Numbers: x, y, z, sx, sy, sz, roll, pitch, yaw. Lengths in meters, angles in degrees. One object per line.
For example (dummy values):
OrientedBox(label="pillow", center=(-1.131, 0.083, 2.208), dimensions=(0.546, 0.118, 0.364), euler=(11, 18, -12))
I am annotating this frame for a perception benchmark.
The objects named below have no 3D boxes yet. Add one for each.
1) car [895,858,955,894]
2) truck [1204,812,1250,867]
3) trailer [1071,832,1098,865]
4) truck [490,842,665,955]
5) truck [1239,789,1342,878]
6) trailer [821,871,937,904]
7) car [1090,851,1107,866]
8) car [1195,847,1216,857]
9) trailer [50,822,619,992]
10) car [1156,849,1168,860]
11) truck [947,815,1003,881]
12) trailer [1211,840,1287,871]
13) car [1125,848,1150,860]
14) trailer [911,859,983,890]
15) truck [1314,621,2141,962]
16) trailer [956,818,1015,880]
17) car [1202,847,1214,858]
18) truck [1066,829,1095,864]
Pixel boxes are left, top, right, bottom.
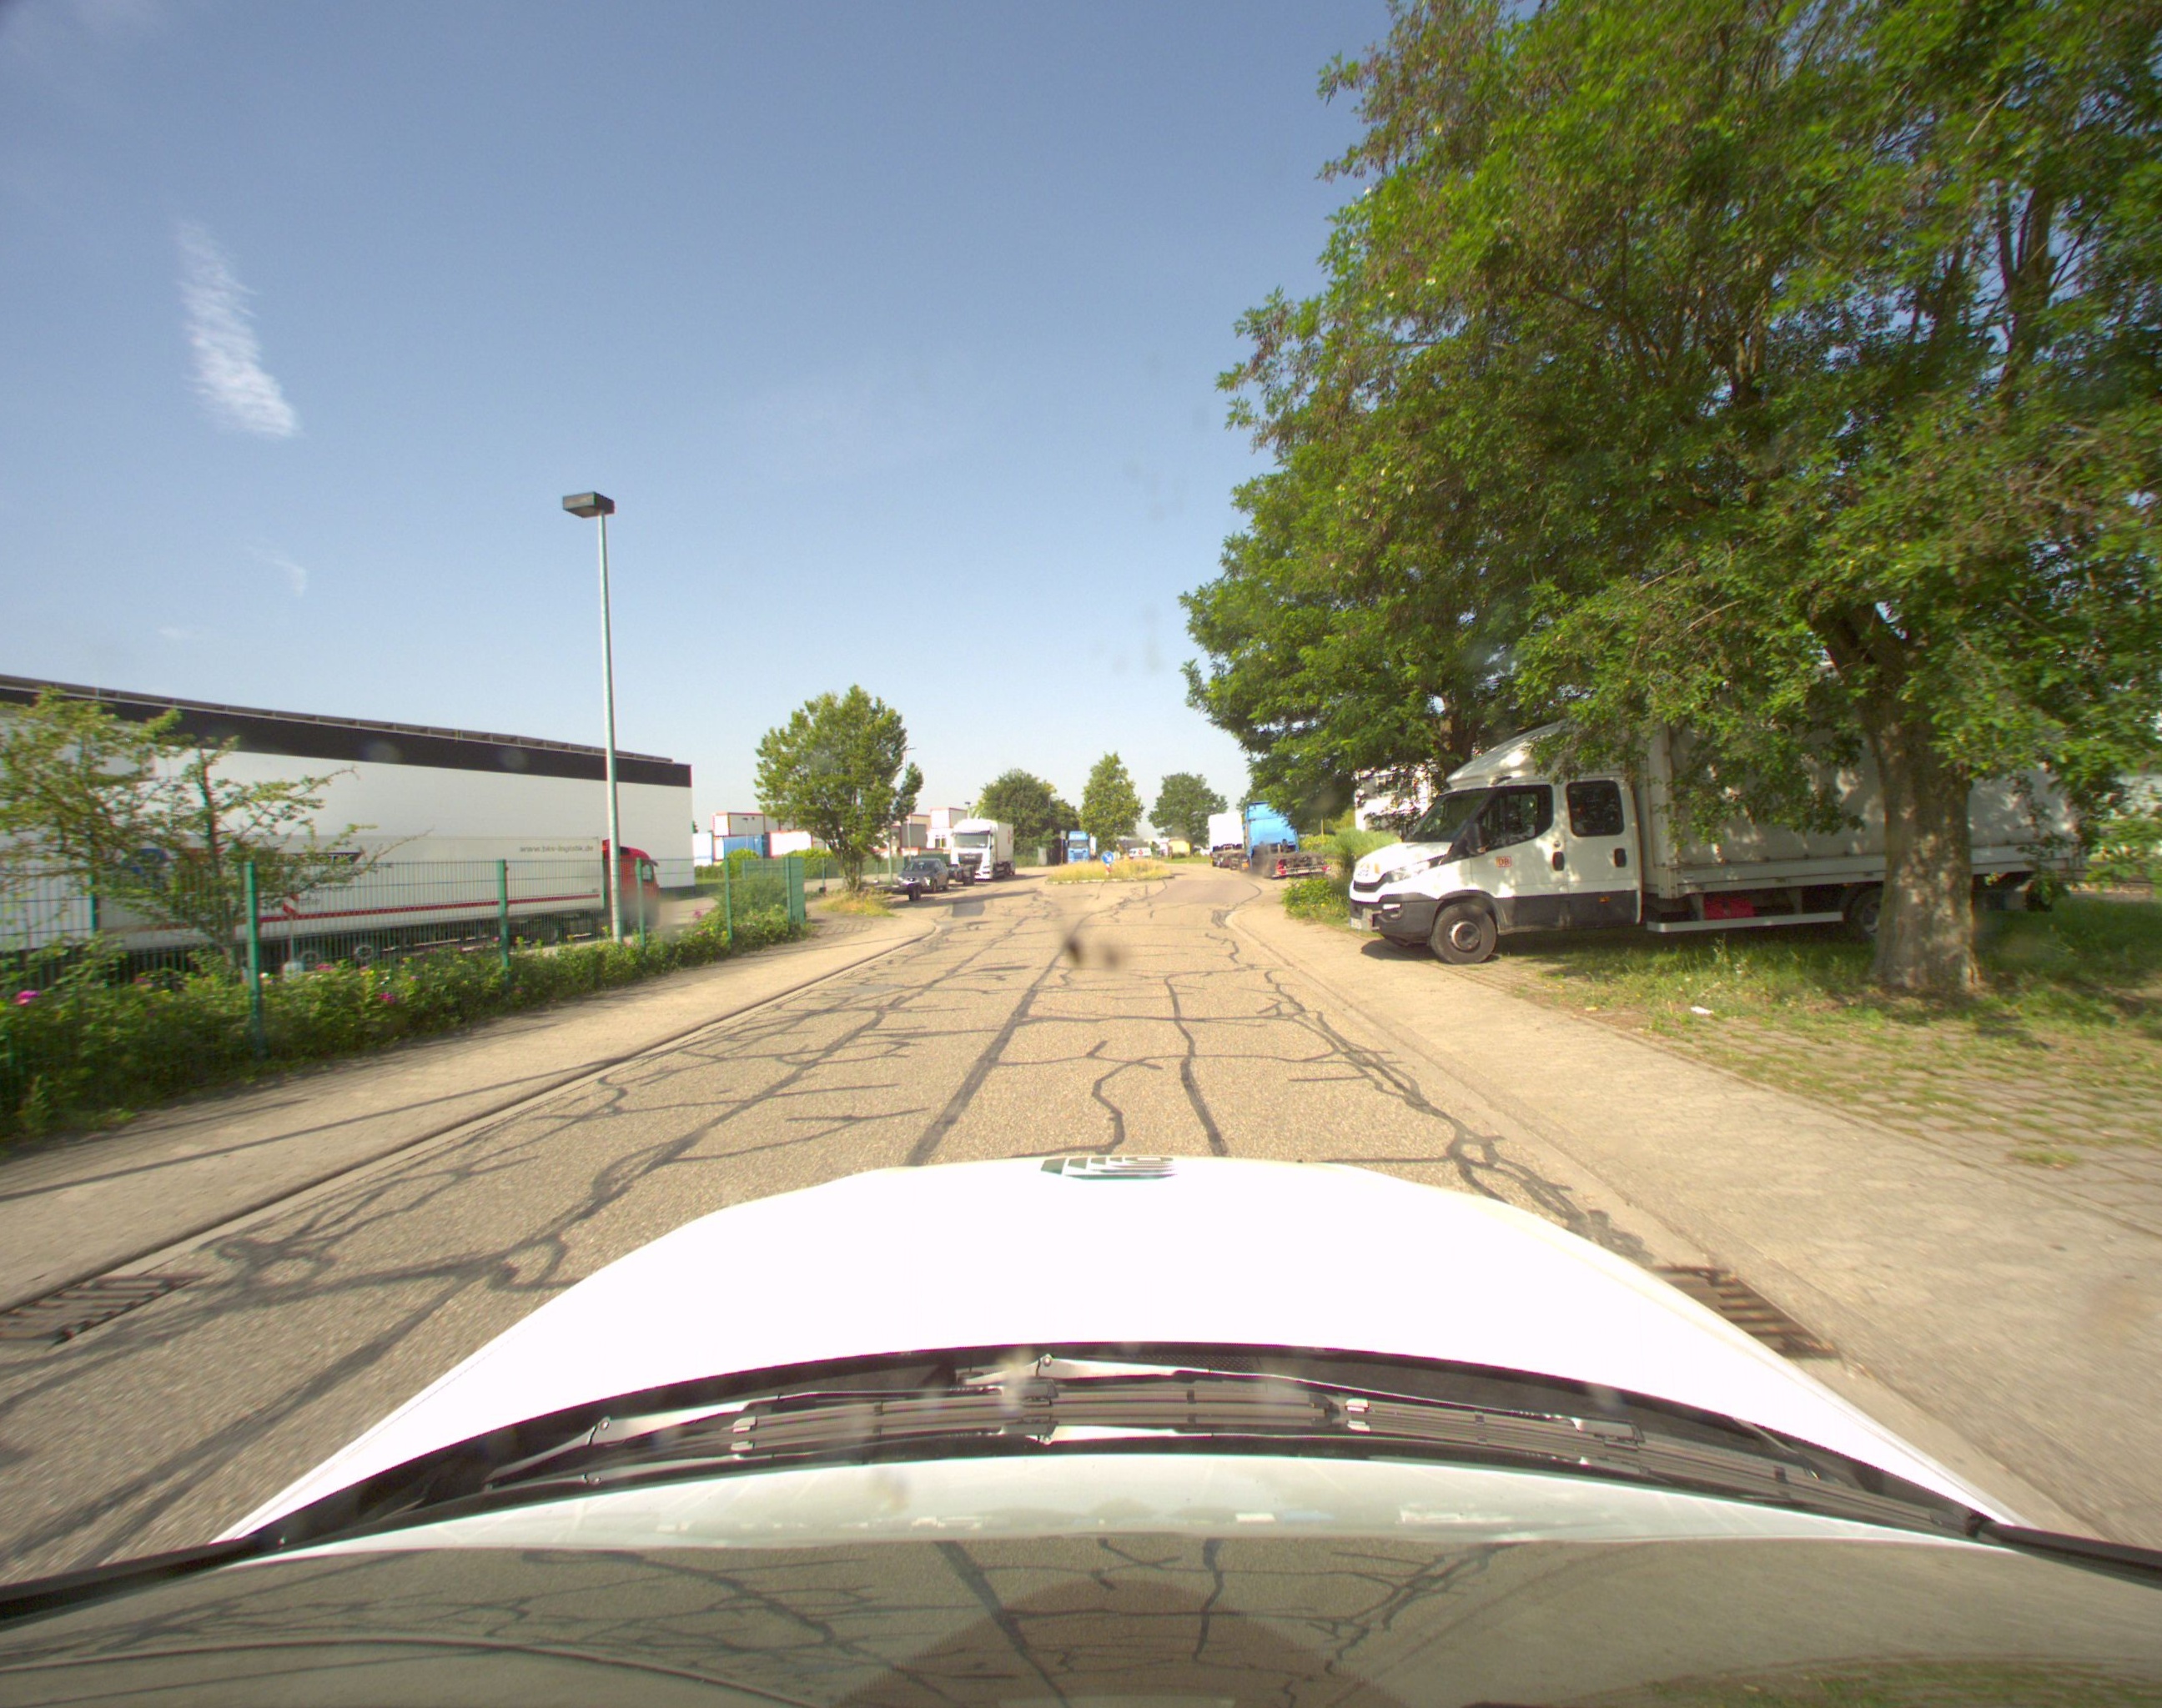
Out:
OrientedBox(label="car", center=(-7.257, 1.000, 38.263), dimensions=(1.688, 1.561, 4.340), euler=(0, 0, 4))
OrientedBox(label="truck", center=(11.356, -1.088, 63.681), dimensions=(2.734, 3.981, 4.004), euler=(-5, 0, 4))
OrientedBox(label="trailer", center=(0.549, -0.600, 104.058), dimensions=(2.819, 3.843, 12.045), euler=(-1, -1, 3))
OrientedBox(label="truck", center=(-19.777, 1.648, 32.386), dimensions=(2.492, 4.071, 5.569), euler=(-1, -1, 19))
OrientedBox(label="truck", center=(9.897, -0.827, 39.752), dimensions=(2.875, 3.535, 9.766), euler=(-6, -1, 4))
OrientedBox(label="trailer", center=(-7.555, 1.238, 31.424), dimensions=(2.537, 0.925, 6.714), euler=(1, 0, 2))
OrientedBox(label="car", center=(2.593, 0.673, 121.192), dimensions=(1.991, 2.013, 3.991), euler=(-2, 0, -6))
OrientedBox(label="car", center=(16.686, -0.234, 109.364), dimensions=(1.670, 1.330, 3.647), euler=(0, -1, -13))
OrientedBox(label="trailer", center=(-21.934, 1.367, 26.300), dimensions=(2.461, 4.042, 13.955), euler=(-1, -1, 19))
OrientedBox(label="car", center=(13.438, 0.071, 135.136), dimensions=(1.785, 1.750, 4.002), euler=(-1, -1, 3))
OrientedBox(label="truck", center=(-6.583, -0.341, 50.975), dimensions=(2.698, 3.922, 4.299), euler=(-1, -1, 3))
OrientedBox(label="trailer", center=(10.868, 0.079, 54.621), dimensions=(2.734, 1.574, 16.188), euler=(-5, 0, 4))
OrientedBox(label="car", center=(13.530, 0.015, 194.145), dimensions=(5.797, 2.734, 1.984), euler=(0, -1, -25))
OrientedBox(label="trailer", center=(-7.194, 1.073, 44.333), dimensions=(2.669, 1.453, 5.084), euler=(-2, 0, 5))
OrientedBox(label="truck", center=(7.535, -0.657, 10.484), dimensions=(8.176, 3.370, 2.742), euler=(-3, -1, 2))
OrientedBox(label="trailer", center=(-6.351, -0.261, 55.309), dimensions=(2.688, 3.922, 7.580), euler=(-1, -1, 3))
OrientedBox(label="car", center=(19.653, -0.149, 126.319), dimensions=(1.708, 1.618, 4.007), euler=(-1, -1, 7))
OrientedBox(label="truck", center=(0.003, -0.748, 95.321), dimensions=(2.813, 3.826, 9.680), euler=(-1, -1, 3))
